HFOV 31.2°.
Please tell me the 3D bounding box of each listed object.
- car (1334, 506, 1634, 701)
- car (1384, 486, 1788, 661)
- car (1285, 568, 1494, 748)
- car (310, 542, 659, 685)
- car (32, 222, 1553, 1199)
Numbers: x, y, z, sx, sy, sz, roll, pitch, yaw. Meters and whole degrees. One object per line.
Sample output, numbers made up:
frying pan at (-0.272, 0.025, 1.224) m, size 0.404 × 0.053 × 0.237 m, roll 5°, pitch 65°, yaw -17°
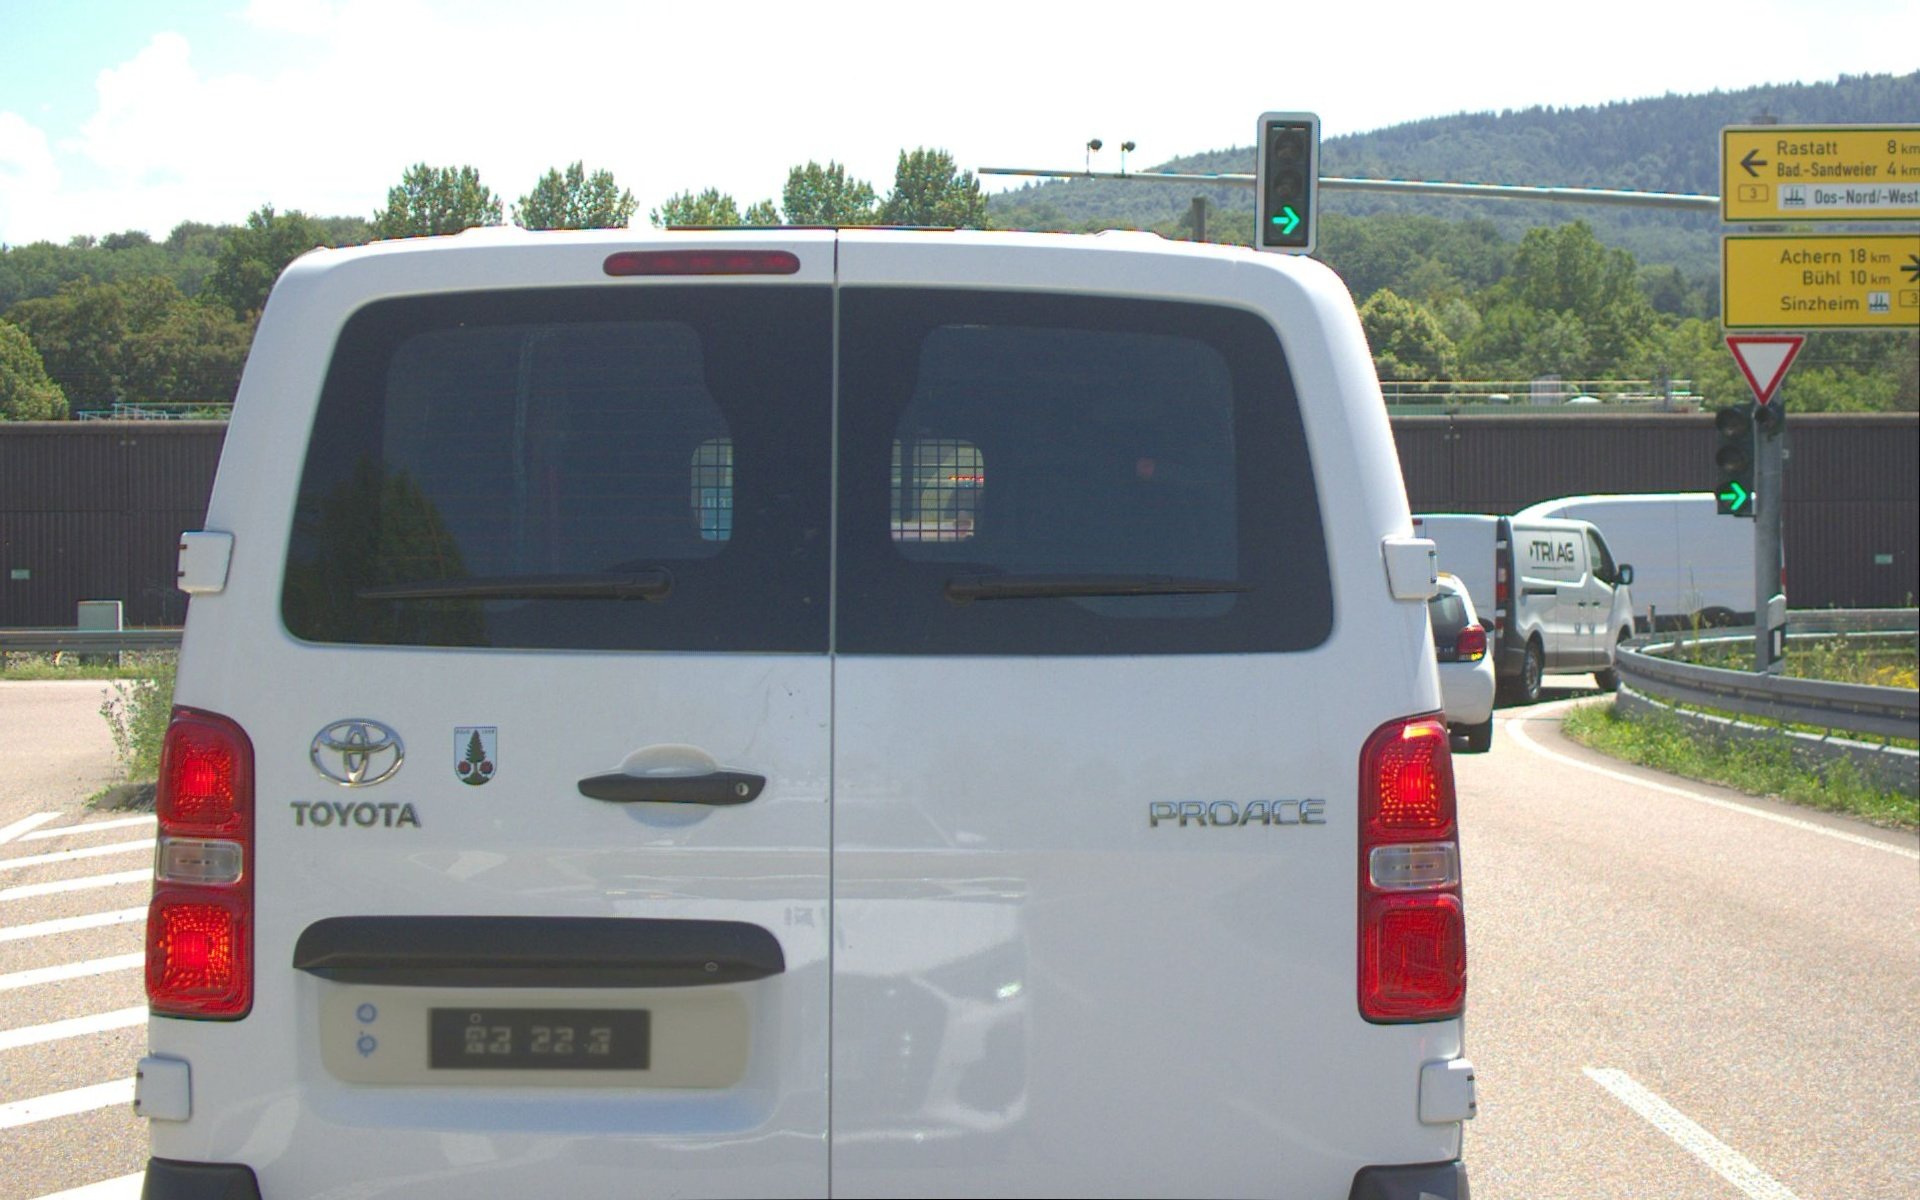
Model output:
car at (5.827, 0.015, 37.702) m, size 1.931 × 1.993 × 4.831 m, roll 1°, pitch 1°, yaw 25°
car at (8.897, -0.382, 49.156) m, size 5.343 × 2.442 × 2.040 m, roll 0°, pitch 1°, yaw -3°
car at (3.678, 0.453, 29.367) m, size 1.656 × 1.426 × 3.364 m, roll 1°, pitch 1°, yaw 8°
car at (-5.769, 0.133, 42.196) m, size 1.997 × 1.651 × 4.317 m, roll 1°, pitch 1°, yaw 30°
car at (-0.252, 0.460, 6.295) m, size 1.886 × 1.880 × 4.000 m, roll 1°, pitch 1°, yaw -1°
